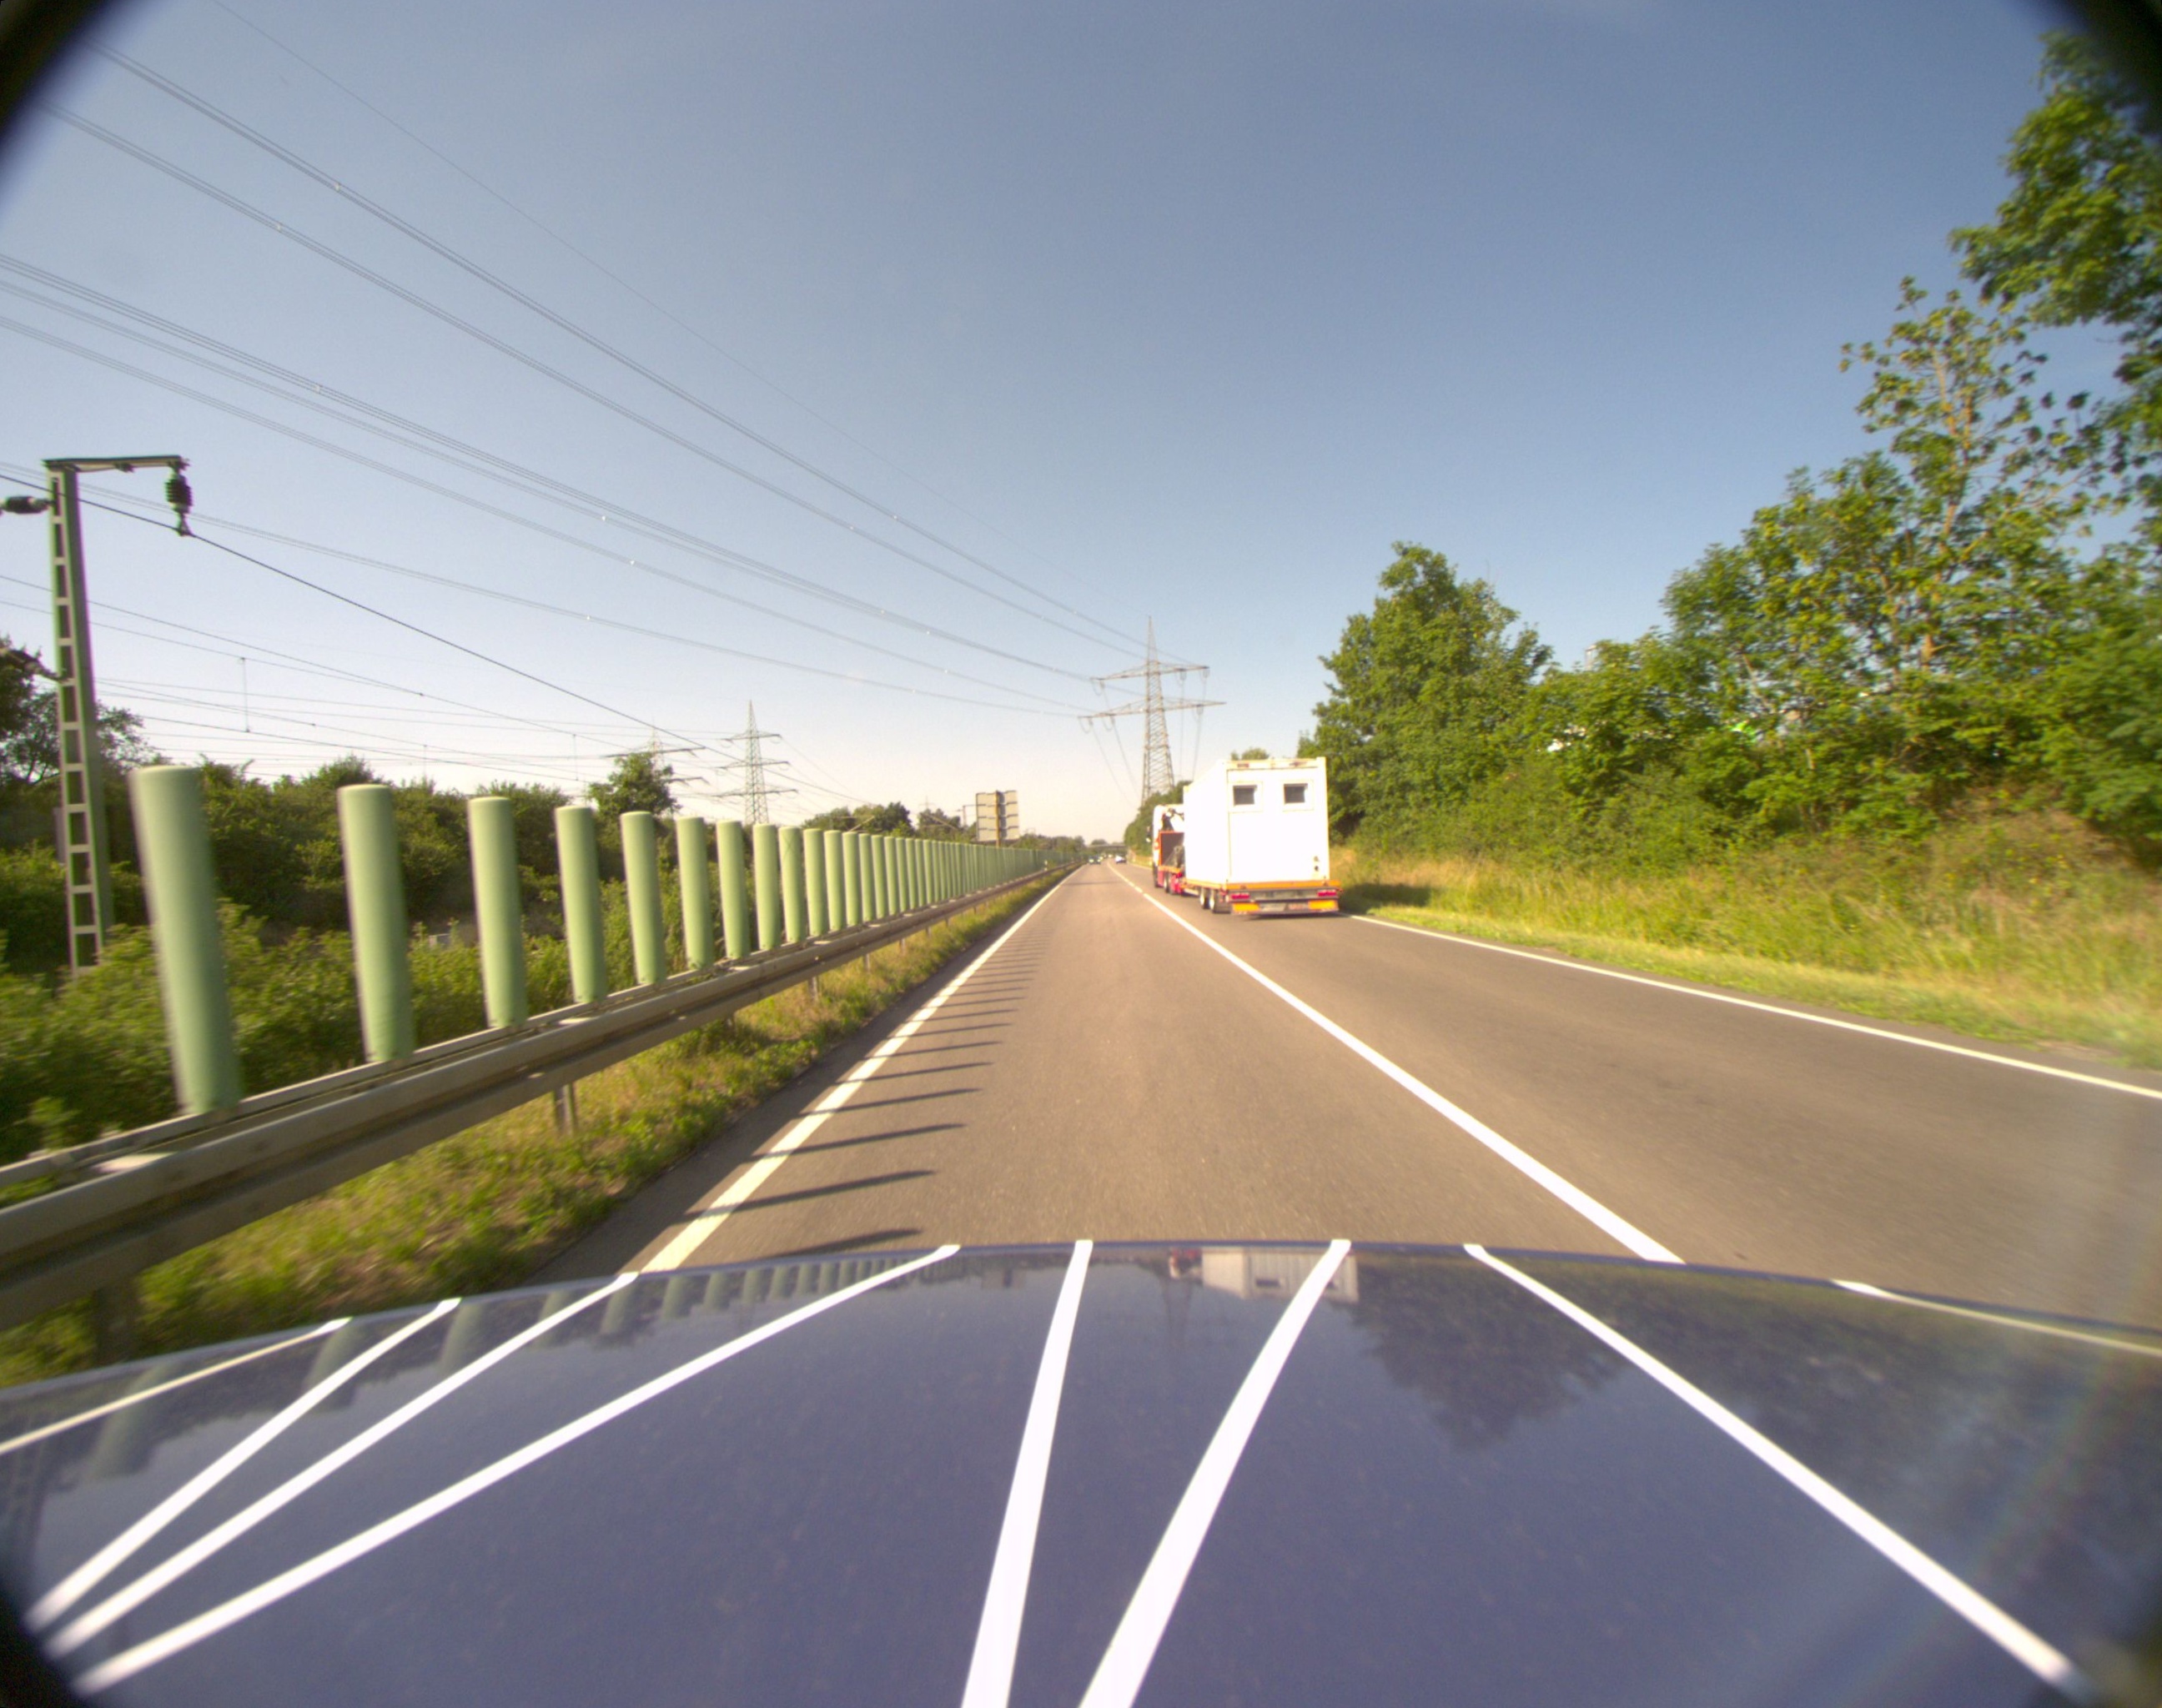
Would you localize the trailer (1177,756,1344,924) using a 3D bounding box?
[{"bbox_3d":[4.441,-0.317,20.710,2.566,3.575,8.292,-2,0,1],"label":"trailer"}]

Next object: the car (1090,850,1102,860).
[{"bbox_3d":[2.430,0.158,125.920,1.786,1.550,4.001,-1,0,3],"label":"car"}]

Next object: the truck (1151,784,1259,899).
[{"bbox_3d":[4.548,-0.419,30.158,2.566,3.667,10.487,-2,0,1],"label":"truck"}]

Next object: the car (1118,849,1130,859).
[{"bbox_3d":[7.300,0.039,130.391,1.800,1.584,3.999,-2,1,0],"label":"car"}]
